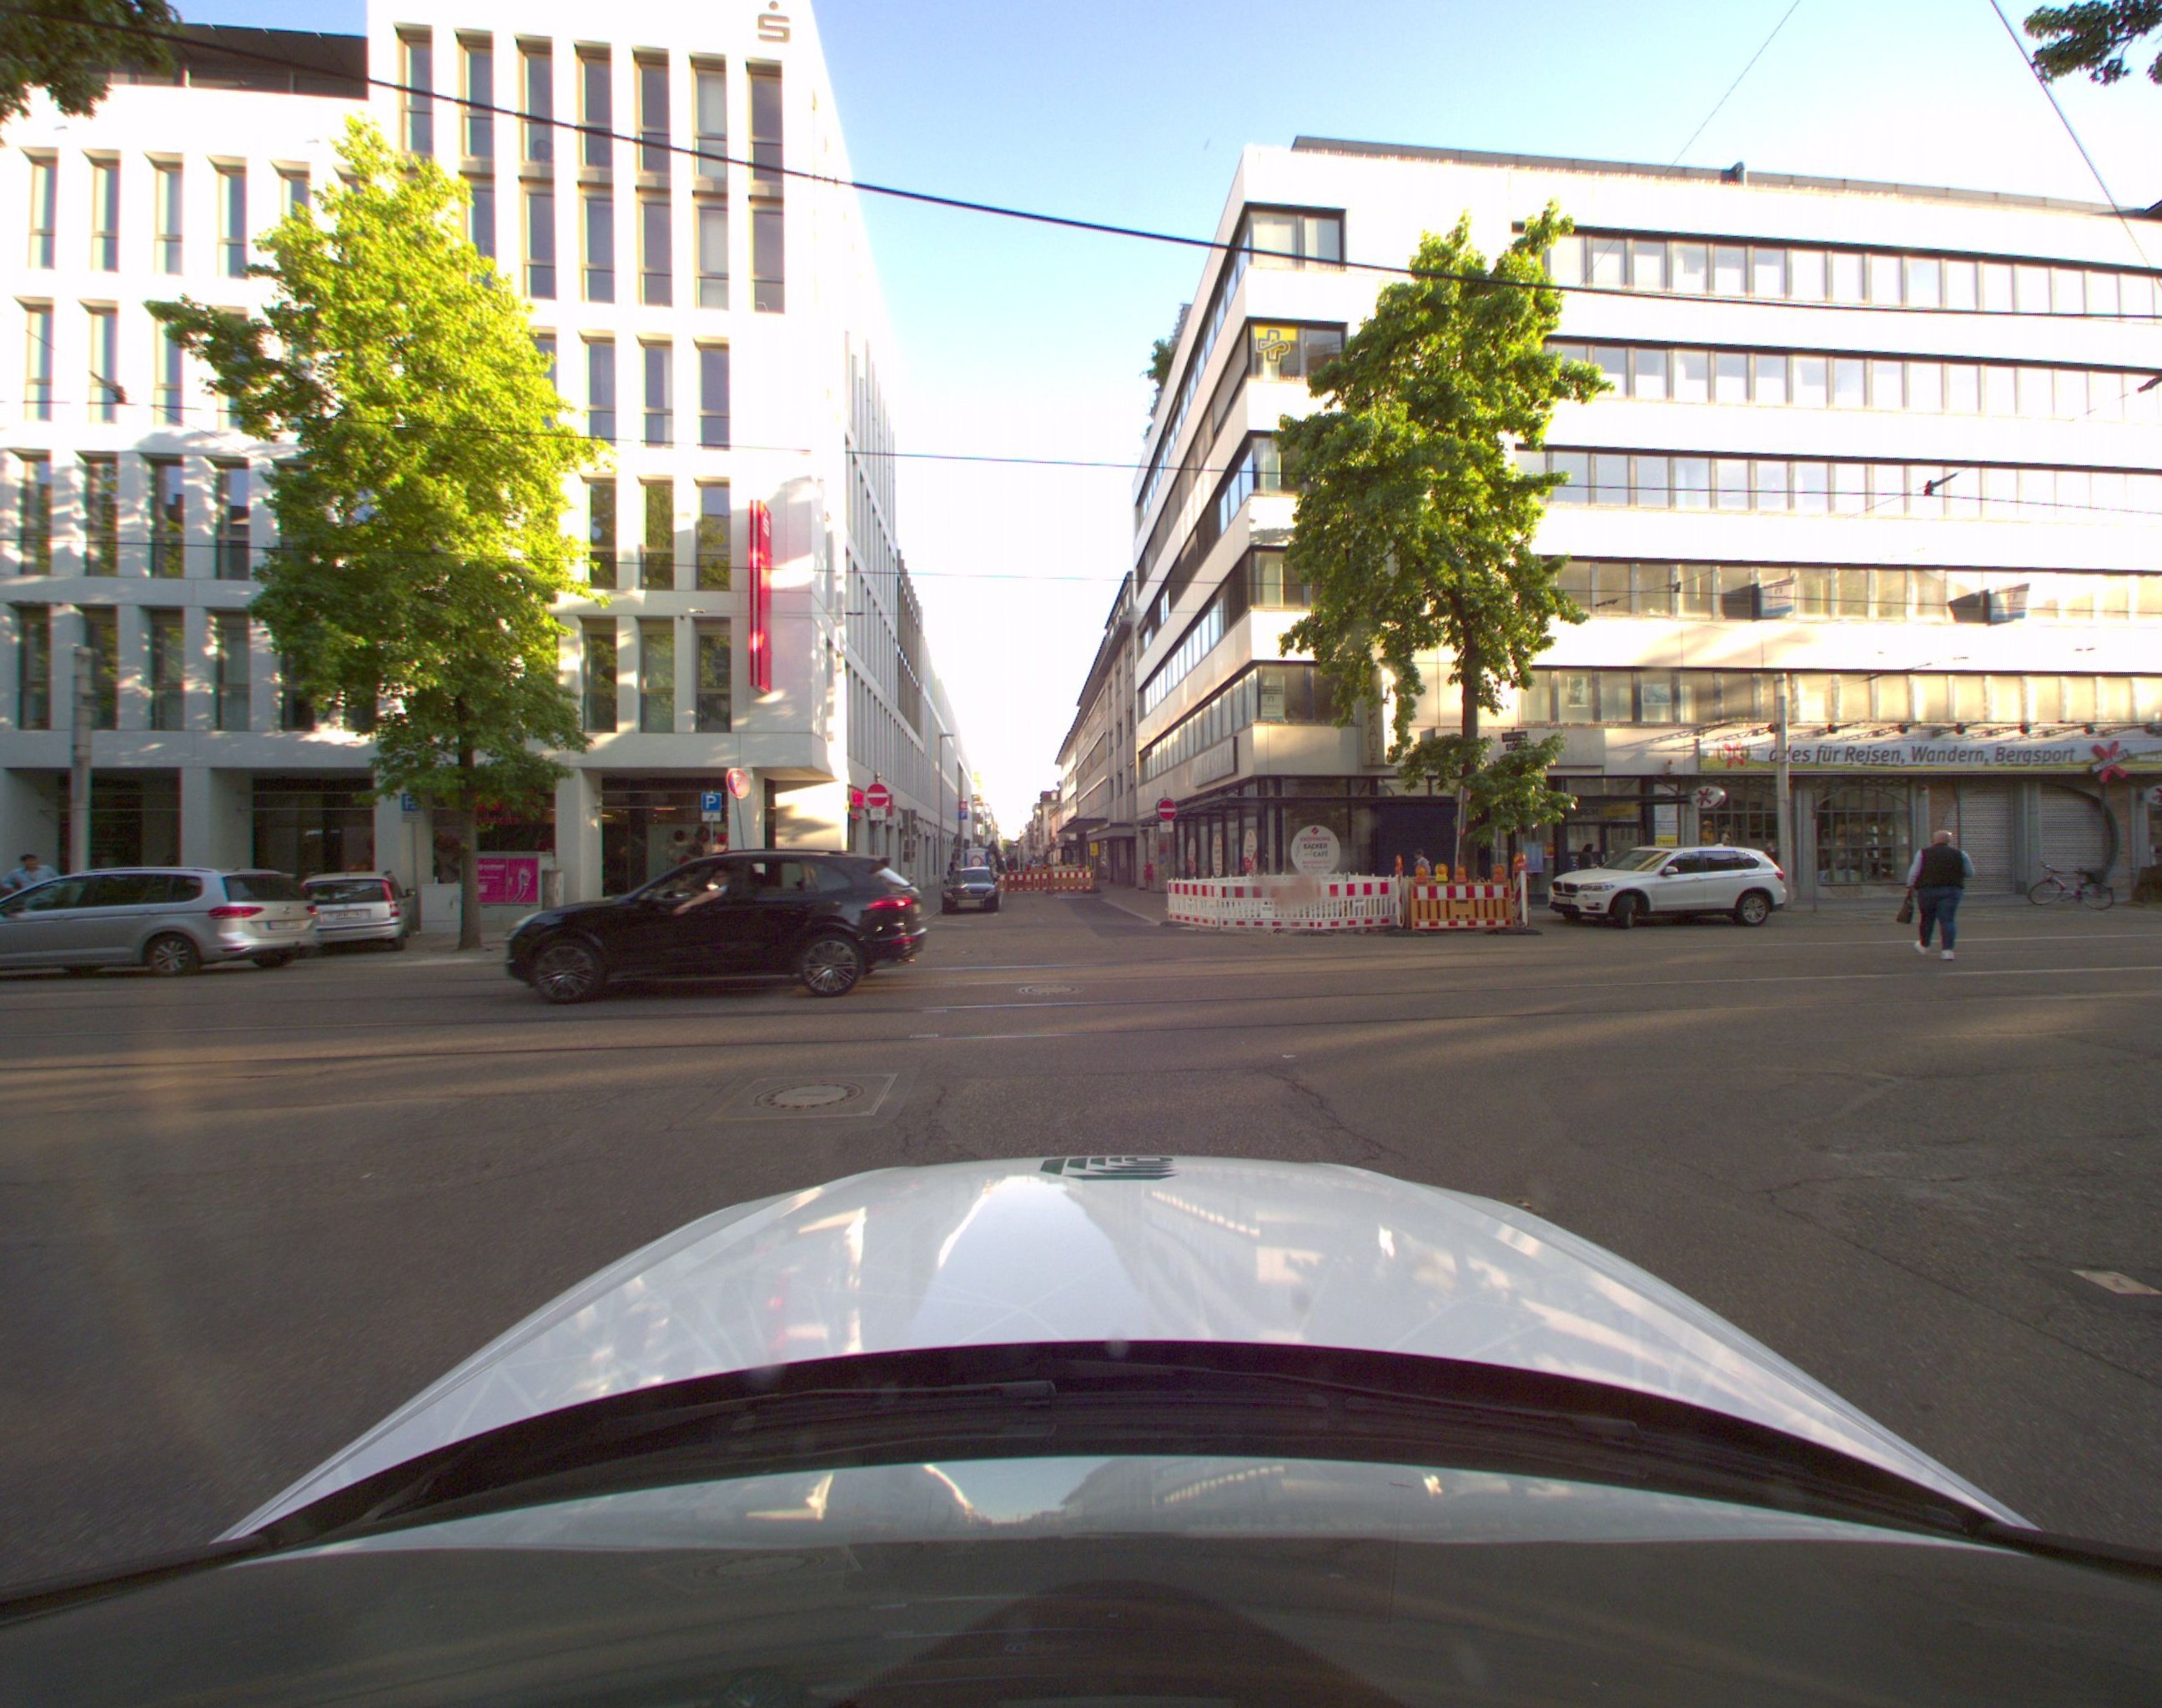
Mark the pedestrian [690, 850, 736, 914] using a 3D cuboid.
[{"bbox_3d":[-9.645,0.725,21.388,0.868,1.627,0.611,-2,0,-1],"label":"pedestrian"}]

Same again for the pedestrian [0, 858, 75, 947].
[{"bbox_3d":[-19.608,0.883,15.314,0.643,1.627,0.637,0,0,-26],"label":"pedestrian"}]

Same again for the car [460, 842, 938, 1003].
[{"bbox_3d":[-4.358,0.751,10.079,4.923,1.726,2.018,0,-1,-6],"label":"car"}]

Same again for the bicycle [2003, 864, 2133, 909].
[{"bbox_3d":[24.508,0.781,20.279,0.667,0.952,2.022,-2,3,-7],"label":"bicycle"}]

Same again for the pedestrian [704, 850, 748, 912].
[{"bbox_3d":[-9.626,0.729,22.087,0.868,1.627,0.611,-2,0,-1],"label":"pedestrian"}]

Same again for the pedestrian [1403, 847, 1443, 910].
[{"bbox_3d":[8.618,0.603,20.521,0.704,1.549,0.577,-2,0,-8],"label":"pedestrian"}]

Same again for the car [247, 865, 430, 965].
[{"bbox_3d":[-14.734,1.097,16.428,1.958,1.505,3.958,-3,3,-32],"label":"car"}]

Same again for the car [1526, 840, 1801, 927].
[{"bbox_3d":[12.915,0.595,18.239,4.923,1.775,2.019,0,2,-6],"label":"car"}]

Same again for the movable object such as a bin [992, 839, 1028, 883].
[{"bbox_3d":[-4.511,0.441,51.934,2.153,2.664,4.564,-1,0,-5],"label":"movable object such as a bin"}]

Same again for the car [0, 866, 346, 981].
[{"bbox_3d":[-14.528,1.029,12.645,4.268,1.593,1.823,-1,-2,-8],"label":"car"}]

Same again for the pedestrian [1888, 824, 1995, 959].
[{"bbox_3d":[11.978,0.495,11.383,0.795,1.776,1.079,-2,0,36],"label":"pedestrian"}]

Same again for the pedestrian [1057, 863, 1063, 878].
[{"bbox_3d":[-1.993,1.571,78.989,0.521,1.464,0.719,-1,-1,3],"label":"pedestrian"}]

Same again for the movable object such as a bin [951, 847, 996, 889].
[{"bbox_3d":[-5.511,0.681,42.141,1.990,2.013,3.994,-2,0,-4],"label":"movable object such as a bin"}]

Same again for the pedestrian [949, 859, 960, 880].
[{"bbox_3d":[-8.708,1.056,56.075,0.714,1.464,0.525,-2,0,-3],"label":"pedestrian"}]

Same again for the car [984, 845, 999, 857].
[{"bbox_3d":[-13.251,-0.447,121.002,1.990,1.776,3.993,-2,0,-5],"label":"car"}]

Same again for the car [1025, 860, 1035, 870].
[{"bbox_3d":[-10.378,2.222,165.637,1.990,1.776,3.993,-2,0,-5],"label":"car"}]

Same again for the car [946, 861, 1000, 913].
[{"bbox_3d":[-3.568,1.033,26.909,1.628,1.550,3.133,-1,0,-8],"label":"car"}]

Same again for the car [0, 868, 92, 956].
[{"bbox_3d":[-21.695,1.142,16.096,1.596,1.505,3.556,-3,3,-32],"label":"car"}]
